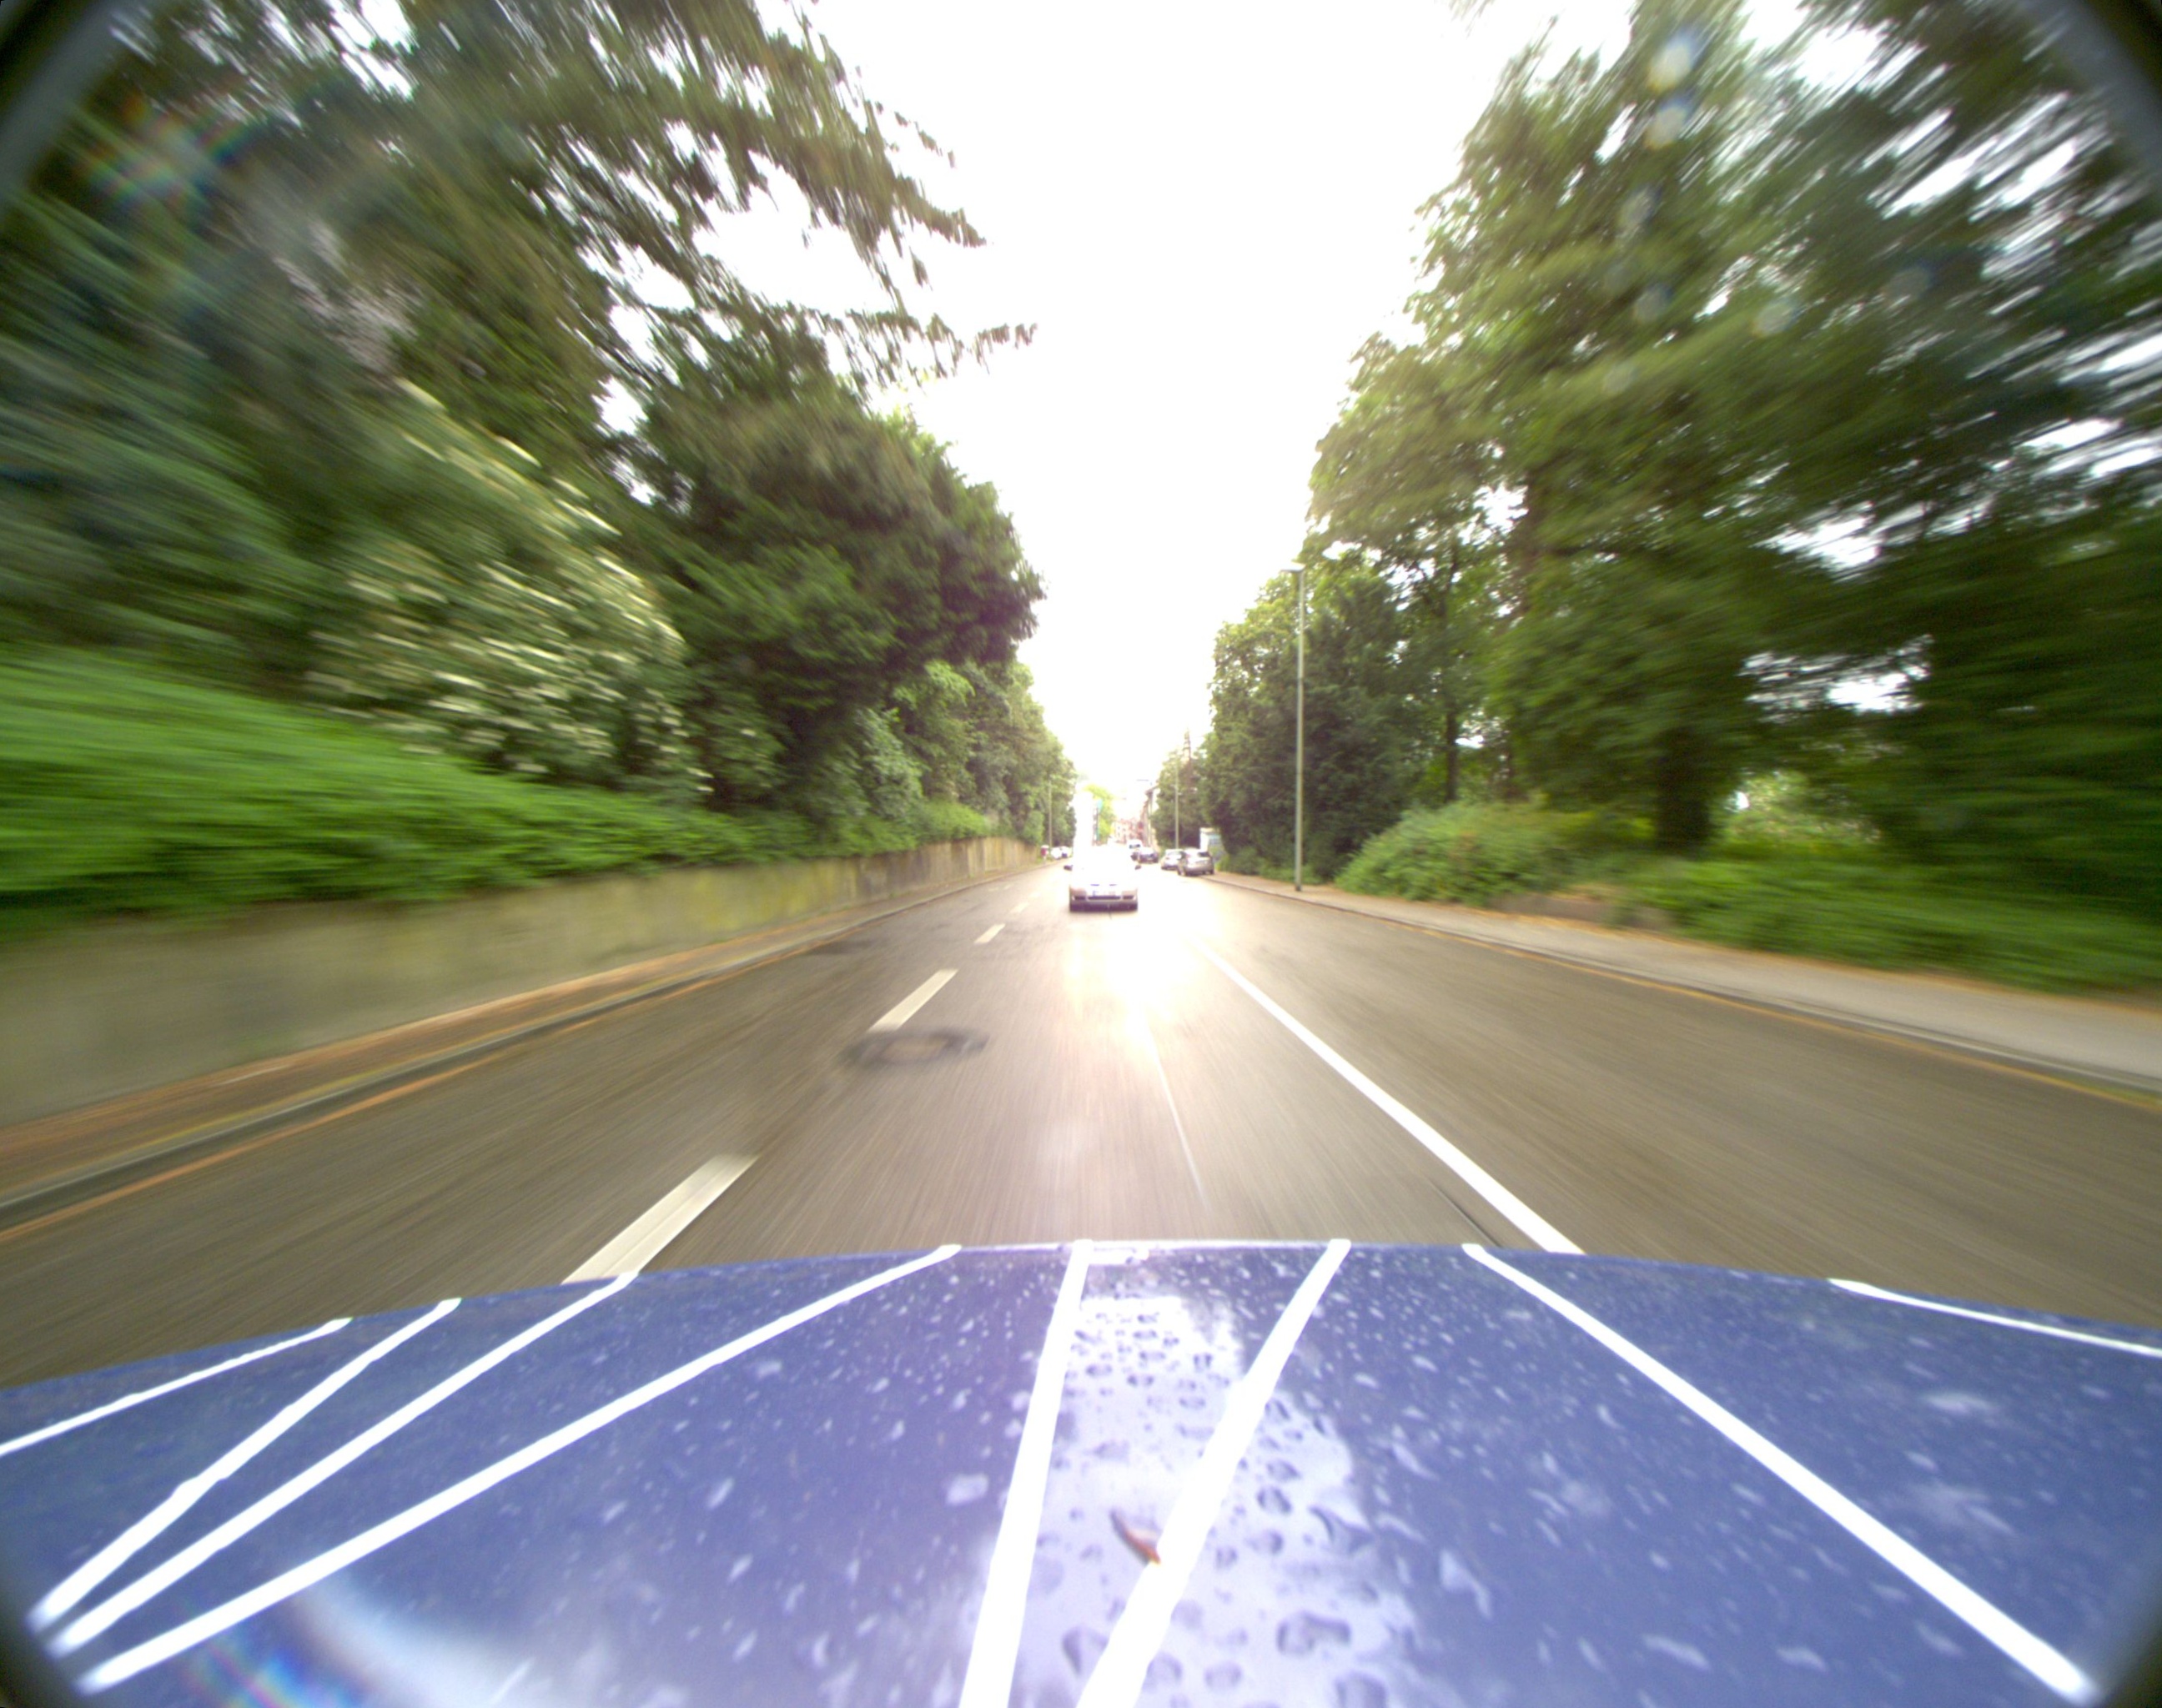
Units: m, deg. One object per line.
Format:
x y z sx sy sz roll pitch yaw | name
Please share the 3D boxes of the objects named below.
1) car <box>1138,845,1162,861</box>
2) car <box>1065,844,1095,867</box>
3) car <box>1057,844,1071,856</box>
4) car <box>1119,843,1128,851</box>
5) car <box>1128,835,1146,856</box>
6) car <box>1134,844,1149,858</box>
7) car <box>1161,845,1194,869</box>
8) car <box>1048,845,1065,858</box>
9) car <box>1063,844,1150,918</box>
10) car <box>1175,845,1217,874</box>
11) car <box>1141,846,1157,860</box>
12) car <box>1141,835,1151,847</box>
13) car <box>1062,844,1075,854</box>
6.917 -0.141 76.389 1.864 1.485 4.755 3 1 0 | car
-0.047 0.076 55.948 1.998 1.604 3.967 0 1 3 | car
-2.380 -0.531 108.710 1.769 1.614 4.679 0 1 2 | car
8.217 -1.309 146.844 1.764 1.483 4.000 -1 1 4 | car
7.352 -1.121 100.490 2.122 2.536 5.444 2 1 3 | car
7.125 -0.343 89.451 1.648 1.595 4.186 2 1 4 | car
7.013 0.183 55.597 1.891 1.602 4.239 2 1 1 | car
-3.122 -0.331 97.717 1.742 1.469 4.741 2 1 4 | car
0.740 0.565 18.769 1.825 1.603 4.190 -1 1 6 | car
6.622 0.288 44.067 1.630 1.490 3.927 -3 1 -2 | car
7.415 -0.111 83.347 1.659 1.560 4.149 1 1 4 | car
14.122 -2.777 165.276 2.122 2.536 5.444 2 1 3 | car
-1.931 -0.778 116.272 1.567 1.459 3.899 2 1 4 | car
